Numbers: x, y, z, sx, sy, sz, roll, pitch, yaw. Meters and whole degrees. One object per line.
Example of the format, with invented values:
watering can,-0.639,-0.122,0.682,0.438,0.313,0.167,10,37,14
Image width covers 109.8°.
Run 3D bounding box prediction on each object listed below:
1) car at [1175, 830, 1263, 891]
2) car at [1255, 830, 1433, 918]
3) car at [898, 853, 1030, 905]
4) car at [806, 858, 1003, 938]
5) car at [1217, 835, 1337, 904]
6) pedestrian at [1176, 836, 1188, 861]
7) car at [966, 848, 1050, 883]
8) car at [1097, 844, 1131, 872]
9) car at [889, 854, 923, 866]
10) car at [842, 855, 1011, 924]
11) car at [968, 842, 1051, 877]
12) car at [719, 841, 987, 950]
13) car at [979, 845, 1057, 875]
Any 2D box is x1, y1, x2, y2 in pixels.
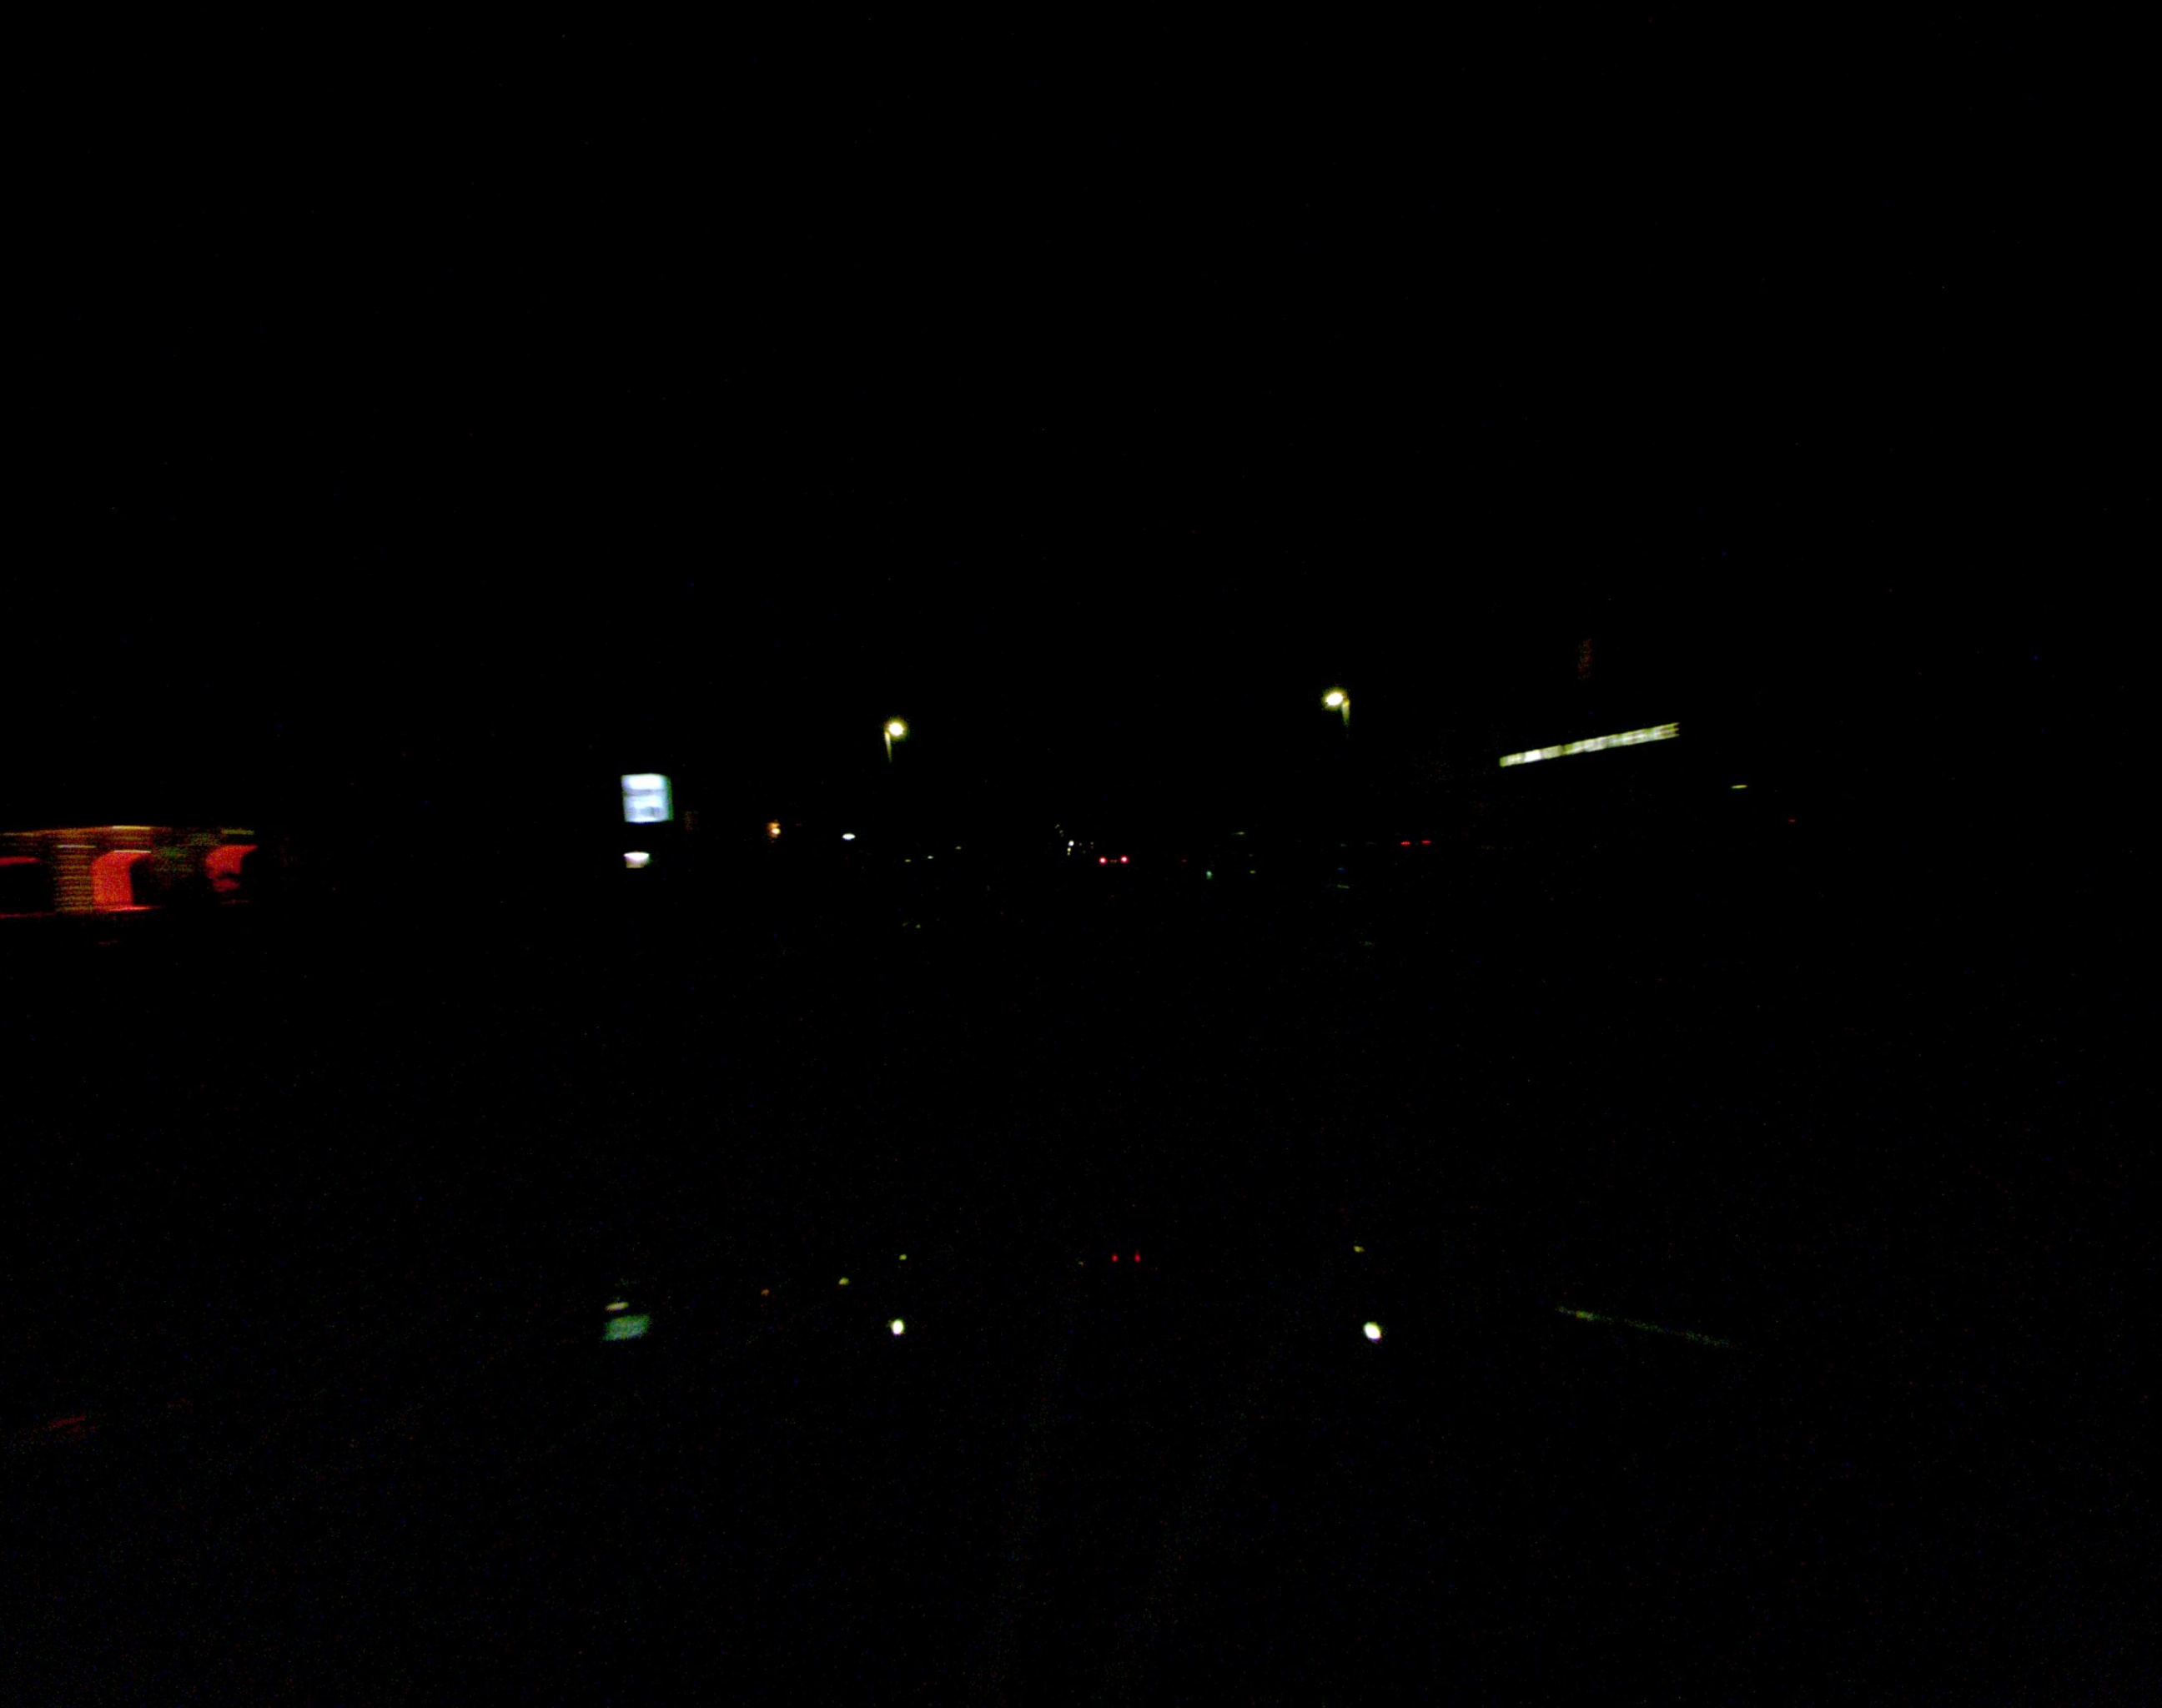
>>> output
car,4.997,0.223,28.307,2.121,1.935,4.887,-4,0,-2
car,5.481,0.349,16.575,2.121,1.539,4.475,-4,1,-2
car,-3.801,0.799,25.217,3.924,1.542,1.988,-2,1,4
car,-3.764,0.926,16.806,3.927,1.505,1.854,-2,1,-3
car,5.401,0.391,21.600,2.121,1.661,4.168,-4,0,-2
pedestrian,8.019,-0.462,60.479,0.747,1.893,0.829,-5,1,0
car,-3.993,0.624,42.115,4.285,1.688,2.000,-3,1,4
car,2.138,0.235,50.245,1.724,1.705,3.959,-4,1,-3
car,-19.159,0.653,83.245,3.552,1.362,1.757,0,1,-15
car,-3.887,0.875,19.635,3.926,1.505,1.854,-2,2,-1
car,-4.626,0.355,49.641,5.156,2.084,2.259,-2,1,-1
car,-4.198,0.742,14.473,4.364,1.805,2.032,-2,1,5
car,-4.326,0.391,52.593,5.156,1.834,2.259,-2,1,-1
